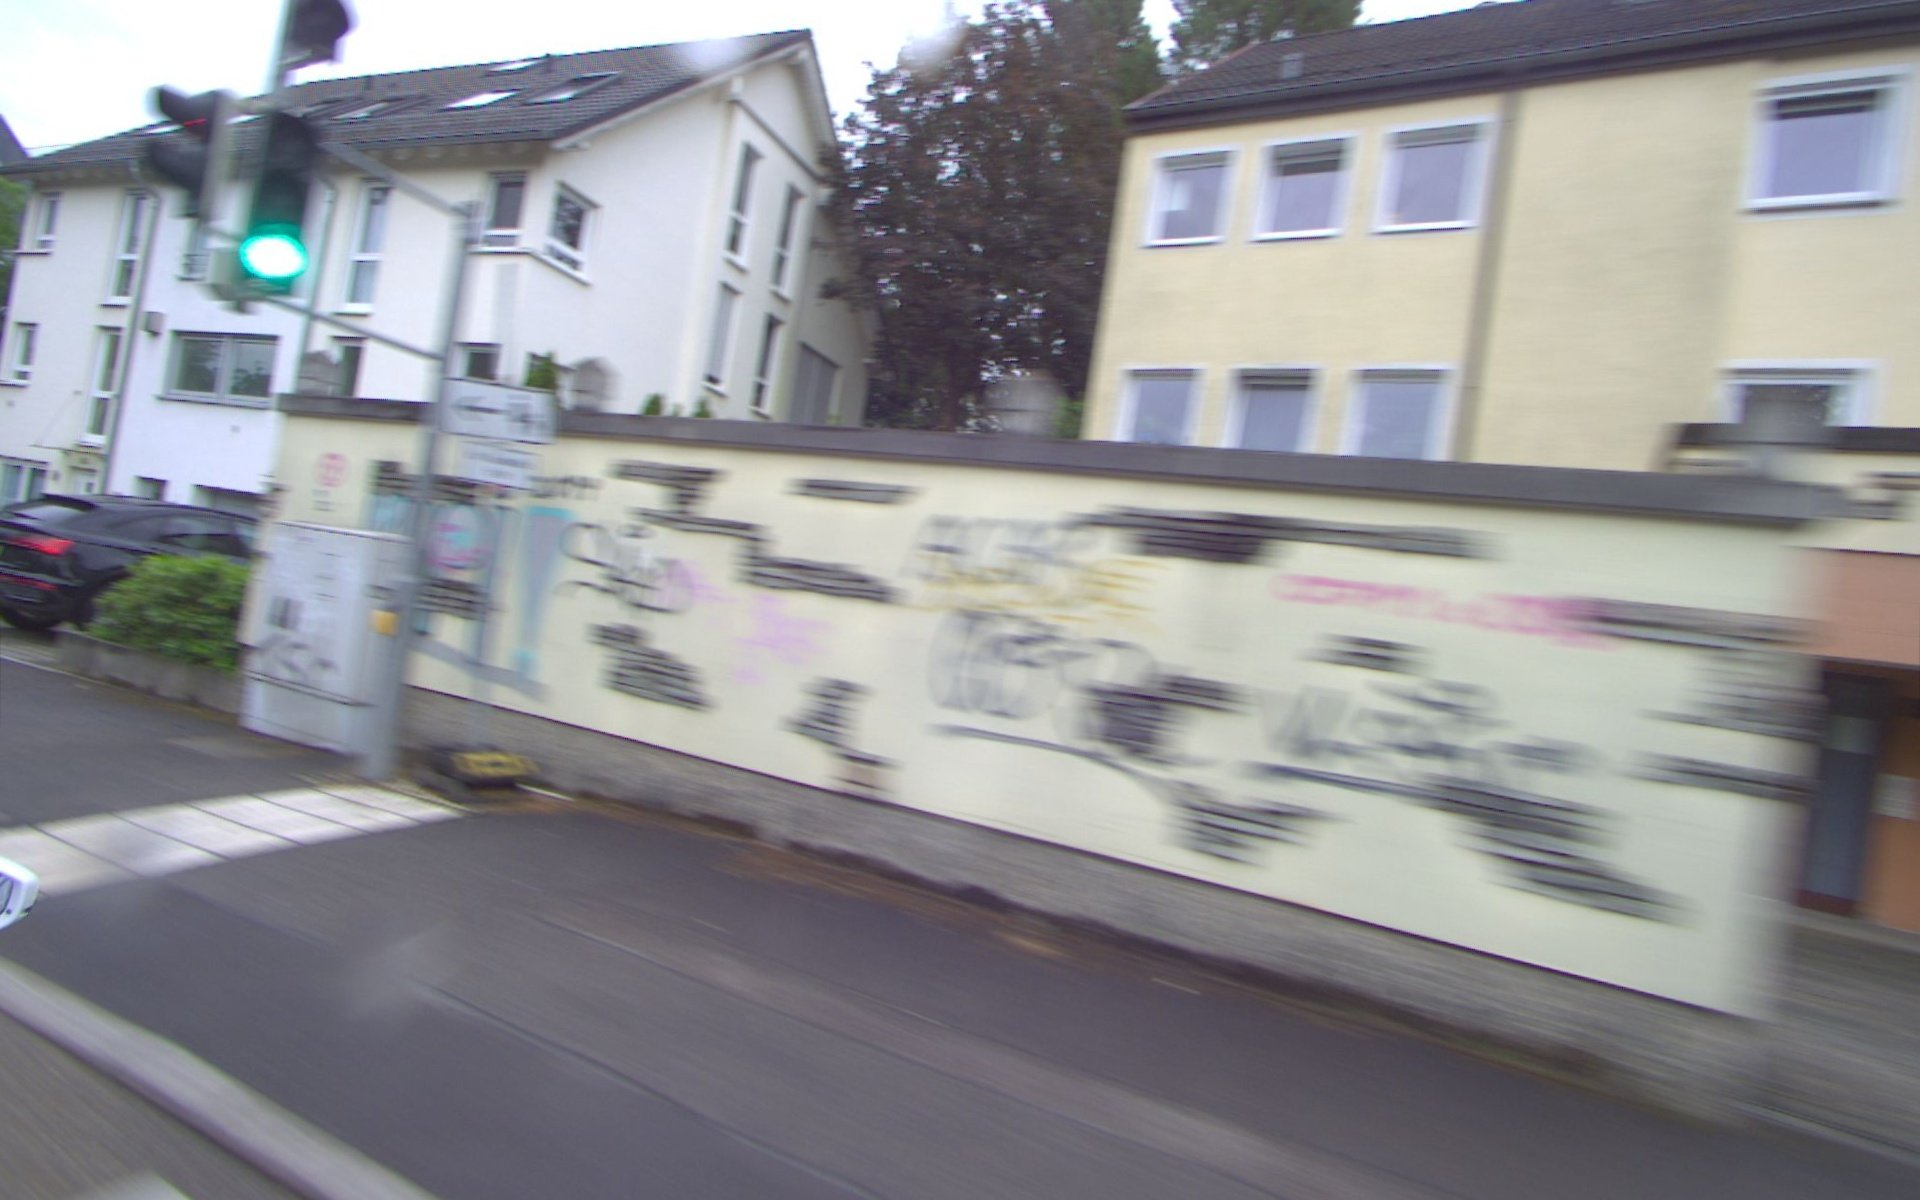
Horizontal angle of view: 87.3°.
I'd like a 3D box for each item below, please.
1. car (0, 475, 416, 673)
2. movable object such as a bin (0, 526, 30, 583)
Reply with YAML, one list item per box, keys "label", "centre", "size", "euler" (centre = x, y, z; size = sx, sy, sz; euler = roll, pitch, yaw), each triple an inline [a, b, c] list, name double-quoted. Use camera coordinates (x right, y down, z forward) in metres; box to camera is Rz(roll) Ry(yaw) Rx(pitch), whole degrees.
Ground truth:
- label: "car"
  centre: [-9.233, -0.198, 12.072]
  size: [1.956, 1.612, 4.350]
  euler: [7, -5, 22]
- label: "movable object such as a bin"
  centre: [-17.159, -0.838, 17.970]
  size: [0.584, 0.966, 0.508]
  euler: [7, -1, 21]
